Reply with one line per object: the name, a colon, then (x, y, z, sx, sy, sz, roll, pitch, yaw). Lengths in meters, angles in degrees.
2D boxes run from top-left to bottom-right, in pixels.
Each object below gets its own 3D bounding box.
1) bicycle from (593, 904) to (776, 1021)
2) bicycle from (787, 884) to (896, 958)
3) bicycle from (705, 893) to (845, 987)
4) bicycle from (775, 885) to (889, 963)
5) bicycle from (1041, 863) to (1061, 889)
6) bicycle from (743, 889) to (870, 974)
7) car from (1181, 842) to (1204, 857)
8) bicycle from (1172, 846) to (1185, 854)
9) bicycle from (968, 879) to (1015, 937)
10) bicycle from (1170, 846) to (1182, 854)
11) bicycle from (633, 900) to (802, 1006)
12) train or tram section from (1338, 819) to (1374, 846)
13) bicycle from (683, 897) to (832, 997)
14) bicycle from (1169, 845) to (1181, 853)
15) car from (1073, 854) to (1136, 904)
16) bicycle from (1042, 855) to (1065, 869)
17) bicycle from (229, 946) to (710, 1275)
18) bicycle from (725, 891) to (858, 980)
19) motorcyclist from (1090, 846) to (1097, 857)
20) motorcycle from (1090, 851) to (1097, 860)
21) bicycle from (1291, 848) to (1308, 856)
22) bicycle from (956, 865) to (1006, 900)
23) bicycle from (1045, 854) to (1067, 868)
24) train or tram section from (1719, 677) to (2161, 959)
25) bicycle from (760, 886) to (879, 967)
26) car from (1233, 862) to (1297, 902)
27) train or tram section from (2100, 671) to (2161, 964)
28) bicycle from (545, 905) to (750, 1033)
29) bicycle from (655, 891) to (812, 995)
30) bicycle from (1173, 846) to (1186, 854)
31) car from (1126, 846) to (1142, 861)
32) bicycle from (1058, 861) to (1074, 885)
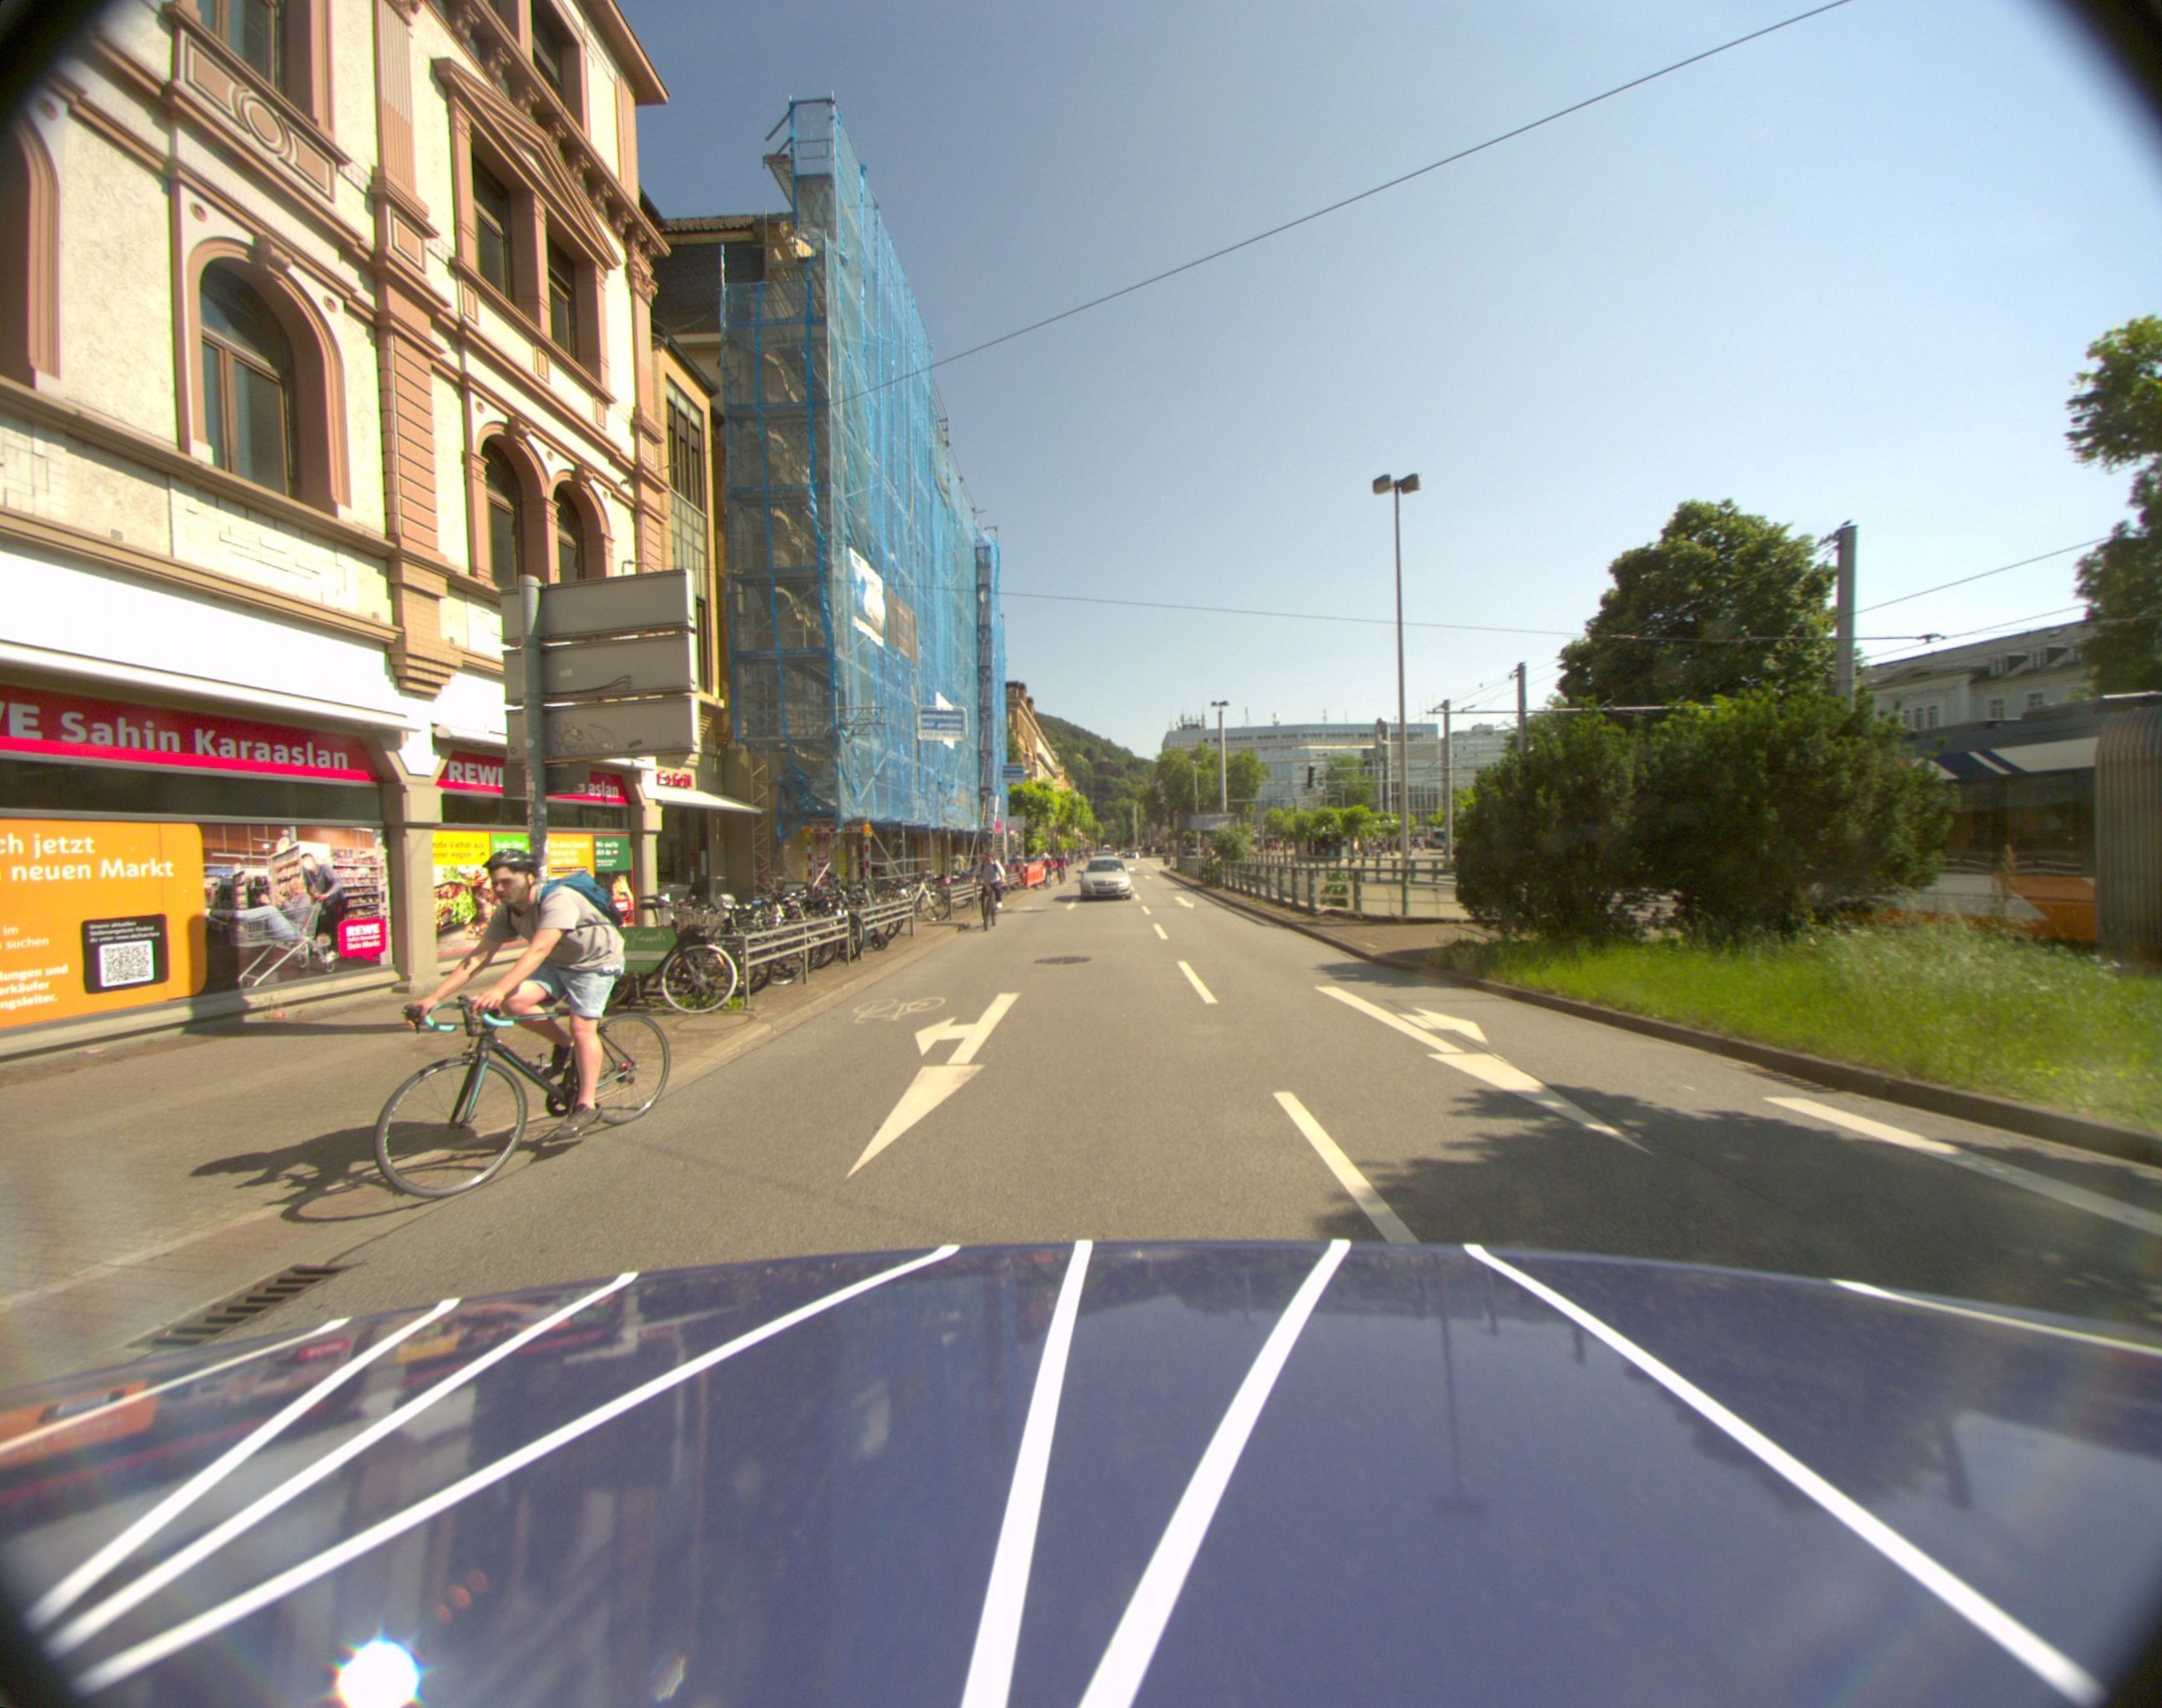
bicycle: (-4.304, 1.160, 8.311, 1.697, 1.172, 0.608, 0, 1, 3)
bicycle: (-4.155, 1.160, 13.238, 1.697, 1.172, 0.451, -3, 2, 3)
bicycle: (-4.246, 1.191, 10.590, 1.697, 1.172, 0.460, -3, 2, 3)
bicycle: (-4.157, 1.163, 12.745, 1.697, 1.172, 0.463, -3, 2, 3)
bicycle: (-1.377, 0.996, 34.857, 0.736, 1.086, 1.819, -3, 1, 1)
bicycle: (-4.209, 1.178, 11.689, 1.697, 1.172, 0.514, -3, 2, 3)
car: (17.236, -0.685, 117.184, 1.995, 2.002, 5.073, -3, 1, 24)
bicycle: (14.595, -0.644, 113.640, 1.865, 1.141, 0.483, -2, 2, 1)
bicycle: (-1.988, 1.177, 17.093, 0.736, 1.086, 1.897, -4, 1, 1)
bicycle: (14.444, -0.673, 115.519, 1.757, 1.141, 0.483, -2, 2, 1)
bicycle: (-4.261, 1.148, 8.964, 1.697, 1.172, 0.608, 0, 1, 3)
train or tram section: (44.064, -3.499, 121.497, 2.615, 3.805, 9.534, -3, 2, 36)
bicycle: (-4.249, 1.217, 10.034, 1.697, 1.172, 0.470, -3, 2, 3)
bicycle: (14.563, -0.719, 117.368, 1.757, 1.141, 0.483, -2, 2, 1)
car: (0.850, 0.797, 26.111, 1.917, 1.401, 4.000, -4, 1, 3)
bicycle: (-2.225, 0.635, 61.805, 1.757, 1.012, 0.557, -2, 2, 1)
bicycle: (-3.139, 1.236, 4.306, 0.735, 1.086, 2.131, -4, 1, 7)
bicycle: (-4.222, 1.183, 11.126, 1.697, 1.172, 0.459, -3, 2, 3)
motorcyclist: (1.682, -0.300, 101.574, 0.736, 1.446, 0.707, -4, 2, 3)
motorcycle: (1.704, 0.154, 101.528, 0.736, 1.086, 1.898, -4, 1, 3)
bicycle: (25.545, -0.250, 88.749, 1.871, 0.851, 0.546, -4, 2, -10)
bicycle: (-3.672, 1.029, 27.967, 1.697, 1.172, 0.608, -3, 2, 3)
bicycle: (-2.109, 0.585, 63.148, 1.757, 1.012, 0.483, -2, 2, 1)
train or tram section: (14.571, -0.584, 12.758, 2.620, 3.561, 6.103, -4, 1, 2)
bicycle: (-4.195, 1.162, 12.231, 1.697, 1.172, 0.457, -3, 2, 3)
car: (7.578, 1.103, 31.611, 1.699, 1.397, 3.999, 2, 1, 1)
train or tram section: (14.327, -0.458, 6.663, 2.619, 3.561, 6.103, -4, 1, 2)
bicycle: (-4.347, 1.143, 7.680, 1.697, 1.172, 0.608, -2, 1, 3)
bicycle: (-4.352, 1.106, 9.566, 1.697, 1.172, 0.470, -3, 2, 3)
bicycle: (14.595, -0.627, 112.798, 1.757, 1.141, 0.483, -2, 2, 1)
car: (7.697, -0.143, 110.643, 1.998, 2.002, 3.999, -4, 1, 1)
bicycle: (-0.761, 0.952, 38.878, 0.667, 1.086, 1.897, -4, 1, 0)
